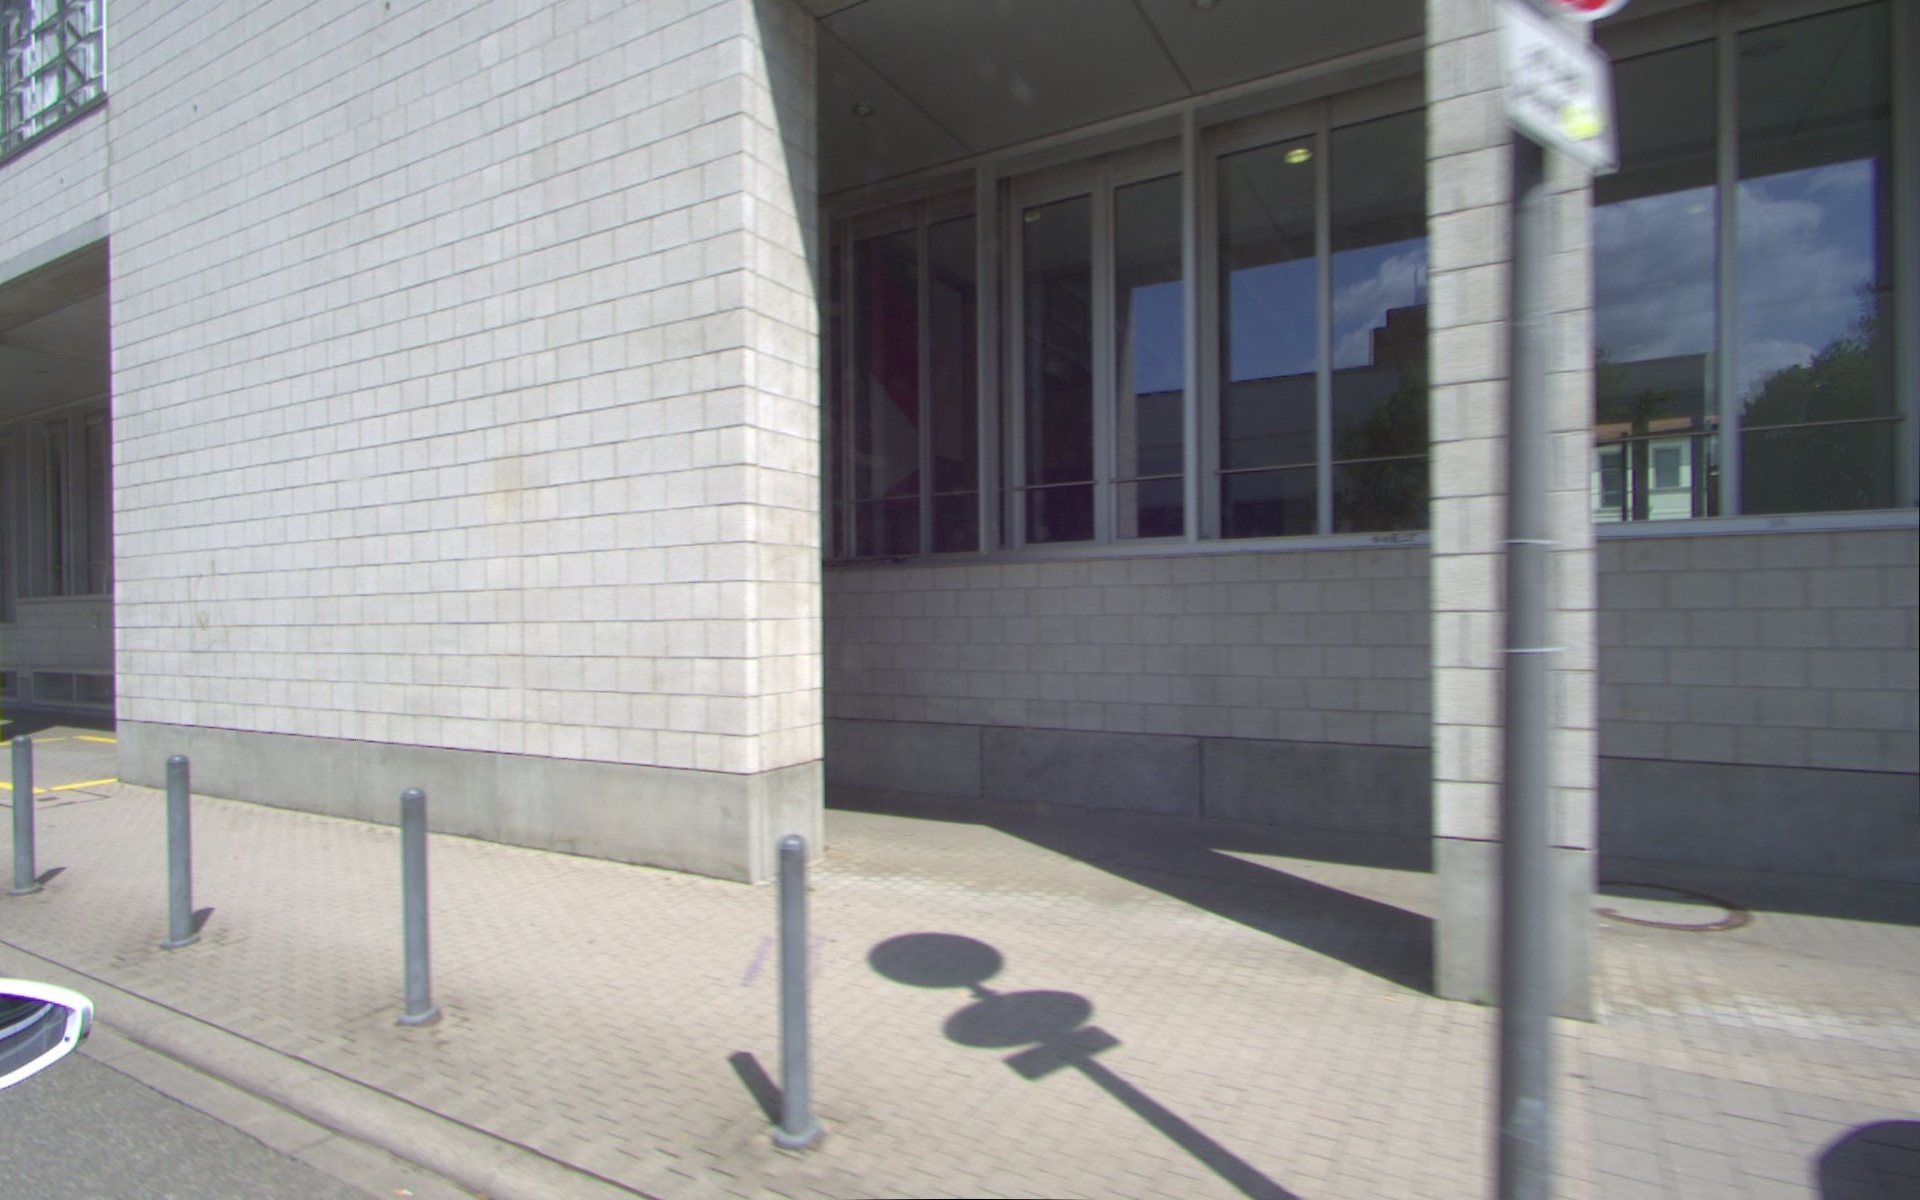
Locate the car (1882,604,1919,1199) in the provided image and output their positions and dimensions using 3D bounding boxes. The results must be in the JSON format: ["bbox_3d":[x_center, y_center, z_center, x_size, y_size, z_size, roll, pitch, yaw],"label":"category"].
[{"bbox_3d":[3.897,0.713,0.697,4.452,1.483,1.864,-1,-1,30],"label":"car"}]
